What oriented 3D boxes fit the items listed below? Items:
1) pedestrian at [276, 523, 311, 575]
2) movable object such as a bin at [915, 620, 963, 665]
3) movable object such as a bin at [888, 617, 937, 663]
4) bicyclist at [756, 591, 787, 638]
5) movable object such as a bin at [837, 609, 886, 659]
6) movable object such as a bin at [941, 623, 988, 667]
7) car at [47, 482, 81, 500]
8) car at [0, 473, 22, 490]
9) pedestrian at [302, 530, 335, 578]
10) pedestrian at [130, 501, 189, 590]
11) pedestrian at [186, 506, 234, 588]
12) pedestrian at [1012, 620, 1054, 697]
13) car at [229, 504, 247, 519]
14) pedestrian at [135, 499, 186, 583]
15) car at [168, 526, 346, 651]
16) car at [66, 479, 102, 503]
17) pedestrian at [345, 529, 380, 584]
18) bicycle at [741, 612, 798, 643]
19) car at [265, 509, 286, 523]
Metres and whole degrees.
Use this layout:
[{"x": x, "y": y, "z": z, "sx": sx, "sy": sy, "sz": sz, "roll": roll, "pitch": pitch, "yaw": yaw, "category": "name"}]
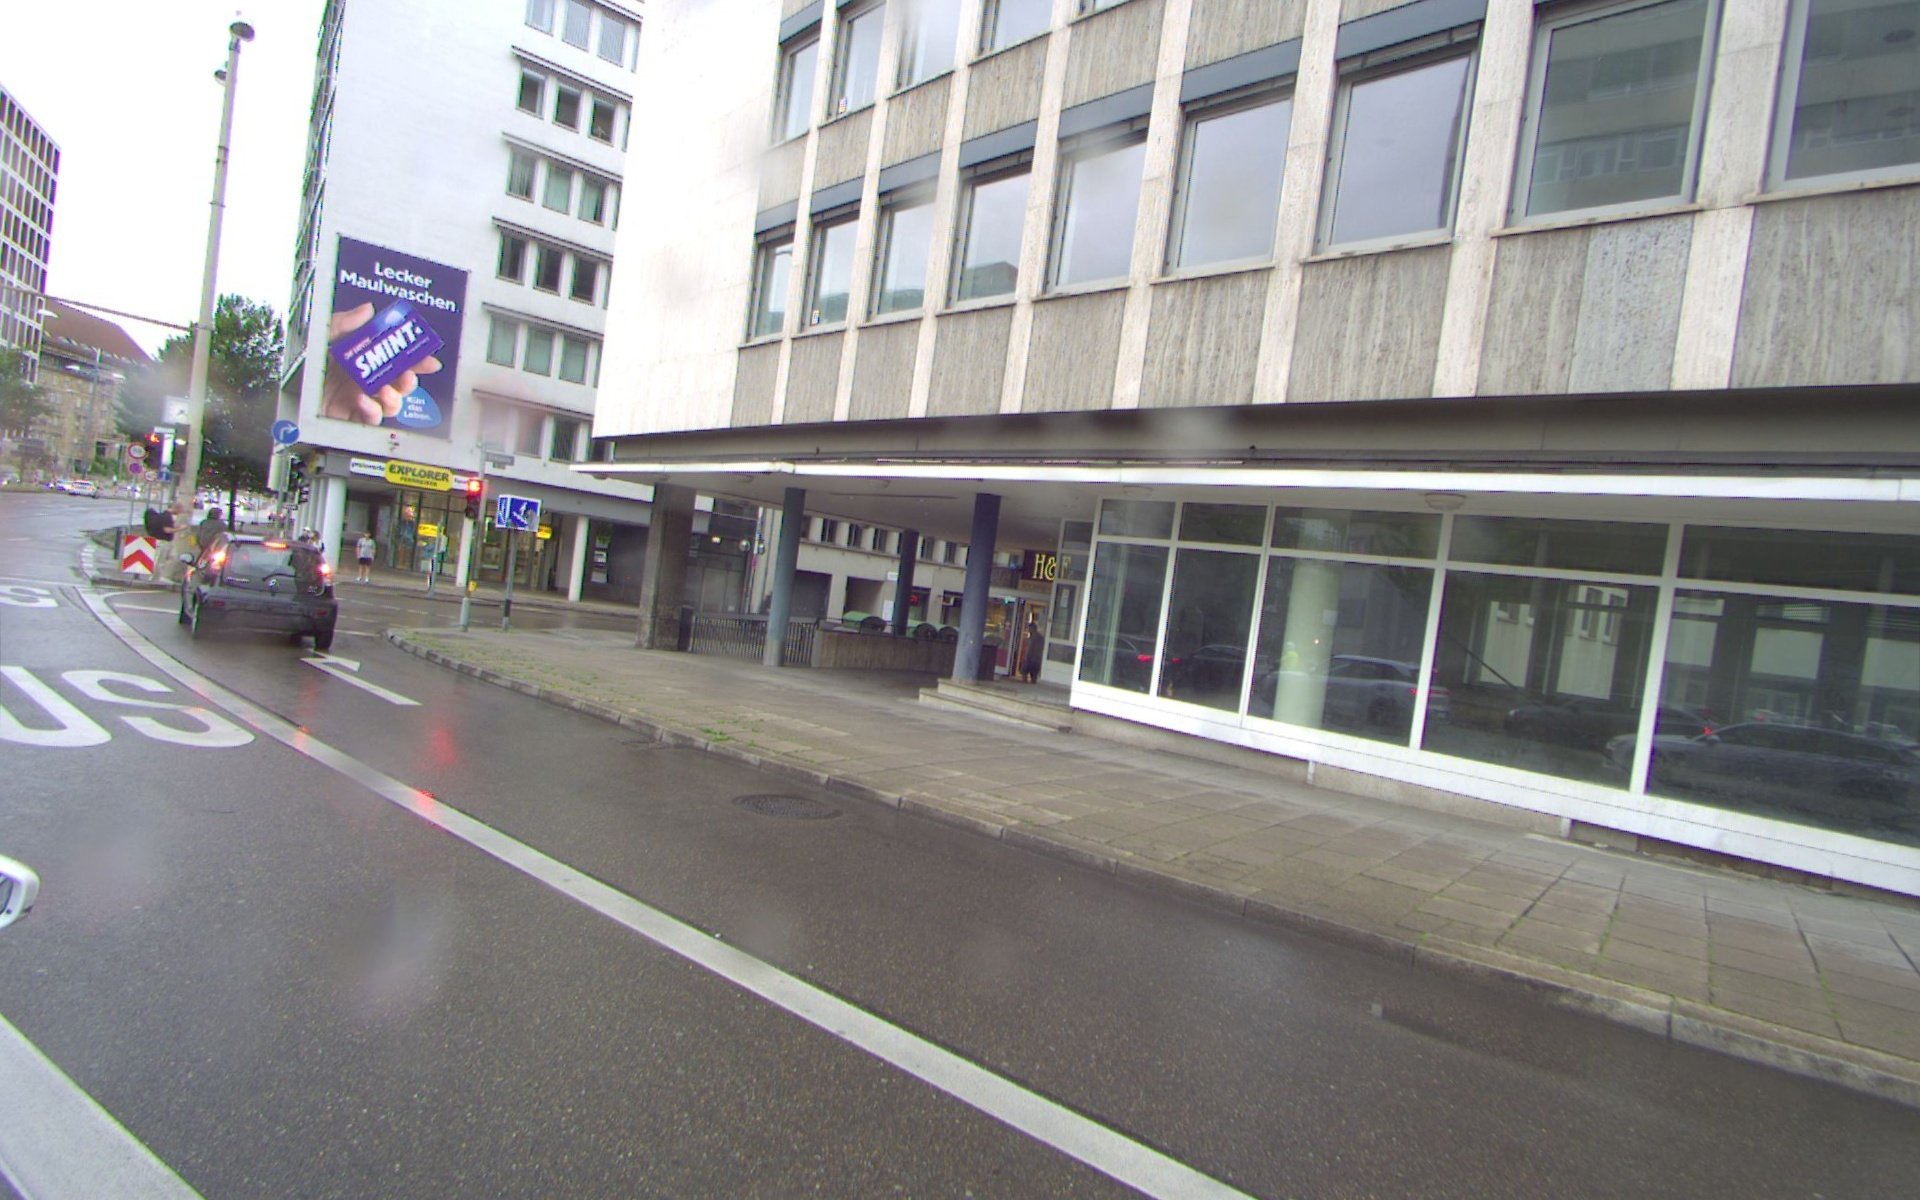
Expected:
[{"x": -22.940, "y": -1.735, "z": 34.638, "sx": 0.660, "sy": 1.675, "sz": 0.651, "roll": 8, "pitch": 0, "yaw": -15, "category": "pedestrian"}, {"x": -0.747, "y": 1.513, "z": 35.946, "sx": 1.095, "sy": 1.399, "sz": 1.186, "roll": 7, "pitch": 1, "yaw": -37, "category": "movable object such as a bin"}, {"x": -1.661, "y": 1.401, "z": 35.238, "sx": 1.095, "sy": 1.399, "sz": 1.186, "roll": 7, "pitch": 1, "yaw": -37, "category": "movable object such as a bin"}, {"x": -6.788, "y": 0.525, "z": 36.212, "sx": 0.764, "sy": 1.588, "sz": 0.527, "roll": 7, "pitch": 0, "yaw": -40, "category": "bicyclist"}, {"x": -3.284, "y": 1.132, "z": 33.542, "sx": 0.961, "sy": 1.447, "sz": 1.268, "roll": 7, "pitch": 1, "yaw": -36, "category": "movable object such as a bin"}, {"x": 0.158, "y": 1.640, "z": 36.633, "sx": 1.095, "sy": 1.399, "sz": 1.186, "roll": 7, "pitch": 1, "yaw": -37, "category": "movable object such as a bin"}, {"x": -103.064, "y": -12.521, "z": 115.725, "sx": 1.979, "sy": 1.506, "sz": 3.968, "roll": 8, "pitch": 0, "yaw": -30, "category": "car"}, {"x": -101.482, "y": -12.681, "z": 106.622, "sx": 1.979, "sy": 1.506, "sz": 3.968, "roll": 8, "pitch": 0, "yaw": -30, "category": "car"}, {"x": -22.180, "y": -1.587, "z": 34.778, "sx": 0.616, "sy": 1.561, "sz": 0.651, "roll": 8, "pitch": 0, "yaw": -15, "category": "pedestrian"}, {"x": -16.932, "y": -1.143, "z": 21.279, "sx": 0.768, "sy": 1.752, "sz": 0.589, "roll": 7, "pitch": 0, "yaw": -44, "category": "pedestrian"}, {"x": -17.811, "y": -1.256, "z": 23.889, "sx": 0.745, "sy": 1.820, "sz": 0.808, "roll": 7, "pitch": 1, "yaw": -38, "category": "pedestrian"}, {"x": 1.839, "y": 1.461, "z": 25.474, "sx": 0.698, "sy": 1.825, "sz": 0.799, "roll": 8, "pitch": 0, "yaw": -8, "category": "pedestrian"}, {"x": -124.105, "y": -15.194, "z": 172.939, "sx": 1.980, "sy": 2.037, "sz": 3.968, "roll": 8, "pitch": -1, "yaw": -31, "category": "car"}, {"x": -18.590, "y": -1.376, "z": 23.396, "sx": 0.745, "sy": 1.820, "sz": 0.808, "roll": 7, "pitch": 1, "yaw": -38, "category": "pedestrian"}, {"x": -10.454, "y": -0.231, "z": 14.836, "sx": 1.566, "sy": 1.446, "sz": 3.953, "roll": 9, "pitch": -2, "yaw": -42, "category": "car"}, {"x": -78.885, "y": -9.814, "z": 90.638, "sx": 1.878, "sy": 1.662, "sz": 3.962, "roll": 8, "pitch": -1, "yaw": -35, "category": "car"}, {"x": -20.938, "y": -1.528, "z": 35.281, "sx": 0.660, "sy": 1.815, "sz": 0.771, "roll": 7, "pitch": 0, "yaw": -15, "category": "pedestrian"}, {"x": -6.845, "y": 1.005, "z": 36.216, "sx": 2.018, "sy": 0.899, "sz": 0.398, "roll": 9, "pitch": -1, "yaw": -41, "category": "bicycle"}, {"x": -91.671, "y": -11.236, "z": 134.742, "sx": 1.680, "sy": 1.503, "sz": 3.973, "roll": 8, "pitch": -2, "yaw": -28, "category": "car"}]
